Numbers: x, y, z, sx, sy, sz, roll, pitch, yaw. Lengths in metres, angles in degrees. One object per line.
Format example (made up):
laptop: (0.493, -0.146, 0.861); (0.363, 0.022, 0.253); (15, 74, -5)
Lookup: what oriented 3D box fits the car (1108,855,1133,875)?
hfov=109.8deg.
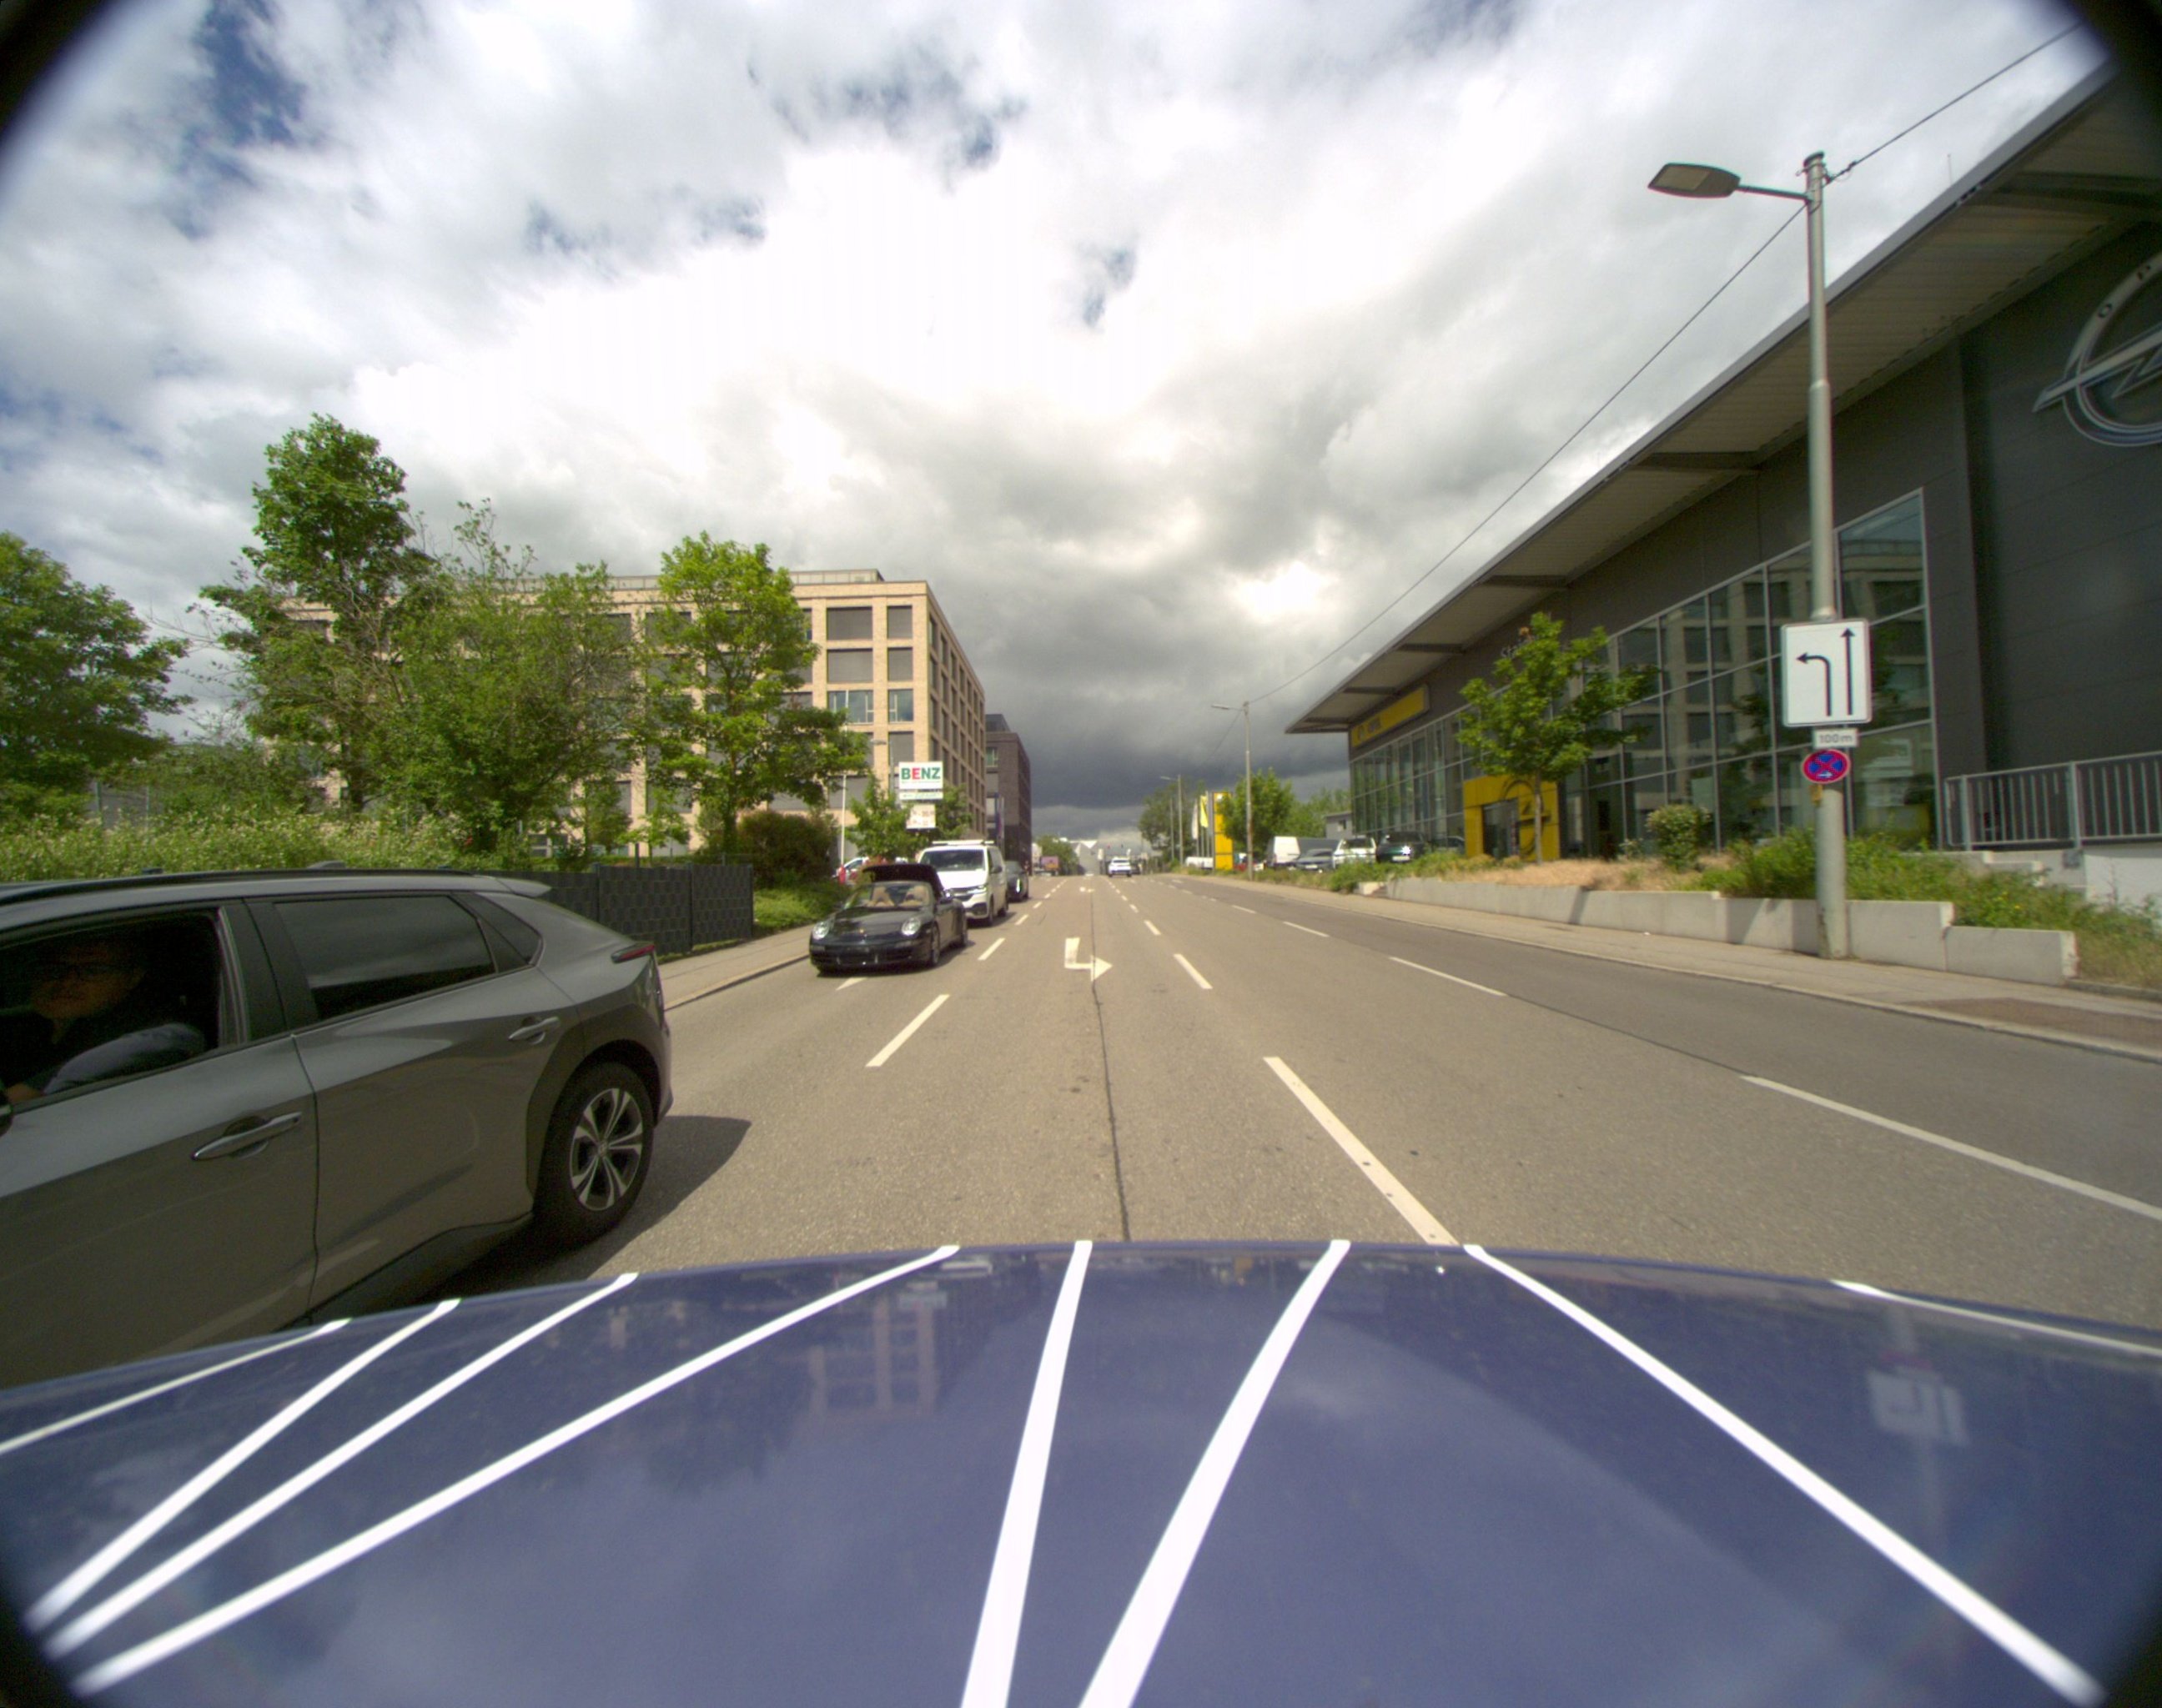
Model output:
car: (3.340, 0.914, 65.399); (1.924, 1.604, 4.416); (-2, 0, 1)

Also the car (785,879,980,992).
car: (-2.928, 1.156, 12.300); (1.777, 1.267, 4.569); (-3, 0, 2)

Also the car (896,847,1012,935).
car: (-2.979, 0.821, 18.890); (1.964, 1.840, 4.645); (-3, 0, 1)

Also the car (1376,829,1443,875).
car: (12.466, -0.081, 28.691); (1.816, 1.604, 4.117); (2, 1, 30)

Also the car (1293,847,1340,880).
car: (12.136, 0.453, 39.054); (1.794, 1.604, 4.116); (-1, 0, 24)

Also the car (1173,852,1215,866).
car: (12.509, 0.591, 84.298); (4.252, 1.473, 2.095); (-1, 0, -2)

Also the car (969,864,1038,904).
car: (-2.780, 1.052, 28.204); (1.777, 1.267, 4.569); (-1, 0, 4)

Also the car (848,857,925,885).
car: (-11.592, 1.008, 45.451); (4.220, 1.567, 1.735); (-1, 0, -4)

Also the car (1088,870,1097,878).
car: (2.321, 4.116, 157.903); (1.866, 1.398, 4.000); (-1, 0, 1)

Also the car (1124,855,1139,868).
car: (6.714, 0.988, 100.248); (1.762, 1.513, 3.959); (-1, 0, 6)

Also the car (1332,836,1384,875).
car: (12.279, 0.027, 33.522); (1.793, 1.604, 4.115); (-1, 1, 25)

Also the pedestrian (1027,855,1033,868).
pedestrian: (-5.905, 0.858, 87.941); (0.578, 1.497, 0.542); (-1, 1, 1)

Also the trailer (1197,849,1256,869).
trailer: (13.141, 0.460, 68.689); (4.835, 1.742, 2.095); (-1, 0, -3)

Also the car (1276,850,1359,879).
car: (13.332, 0.582, 43.020); (4.108, 1.604, 1.797); (-1, 0, -8)

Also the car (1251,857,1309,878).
car: (14.957, 1.034, 57.293); (3.946, 1.518, 1.561); (-1, 0, -2)

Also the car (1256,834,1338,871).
car: (13.534, -0.097, 47.824); (4.531, 2.182, 2.179); (-1, 1, -1)

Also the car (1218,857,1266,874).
car: (13.701, 0.994, 64.803); (3.669, 1.401, 1.815); (-1, 0, 2)

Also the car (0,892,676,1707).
car: (-2.993, 1.024, 1.349); (1.924, 1.604, 4.683); (-3, 0, 1)

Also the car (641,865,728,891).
car: (-23.382, 1.406, 44.921); (4.219, 1.410, 1.735); (-1, 0, -1)
